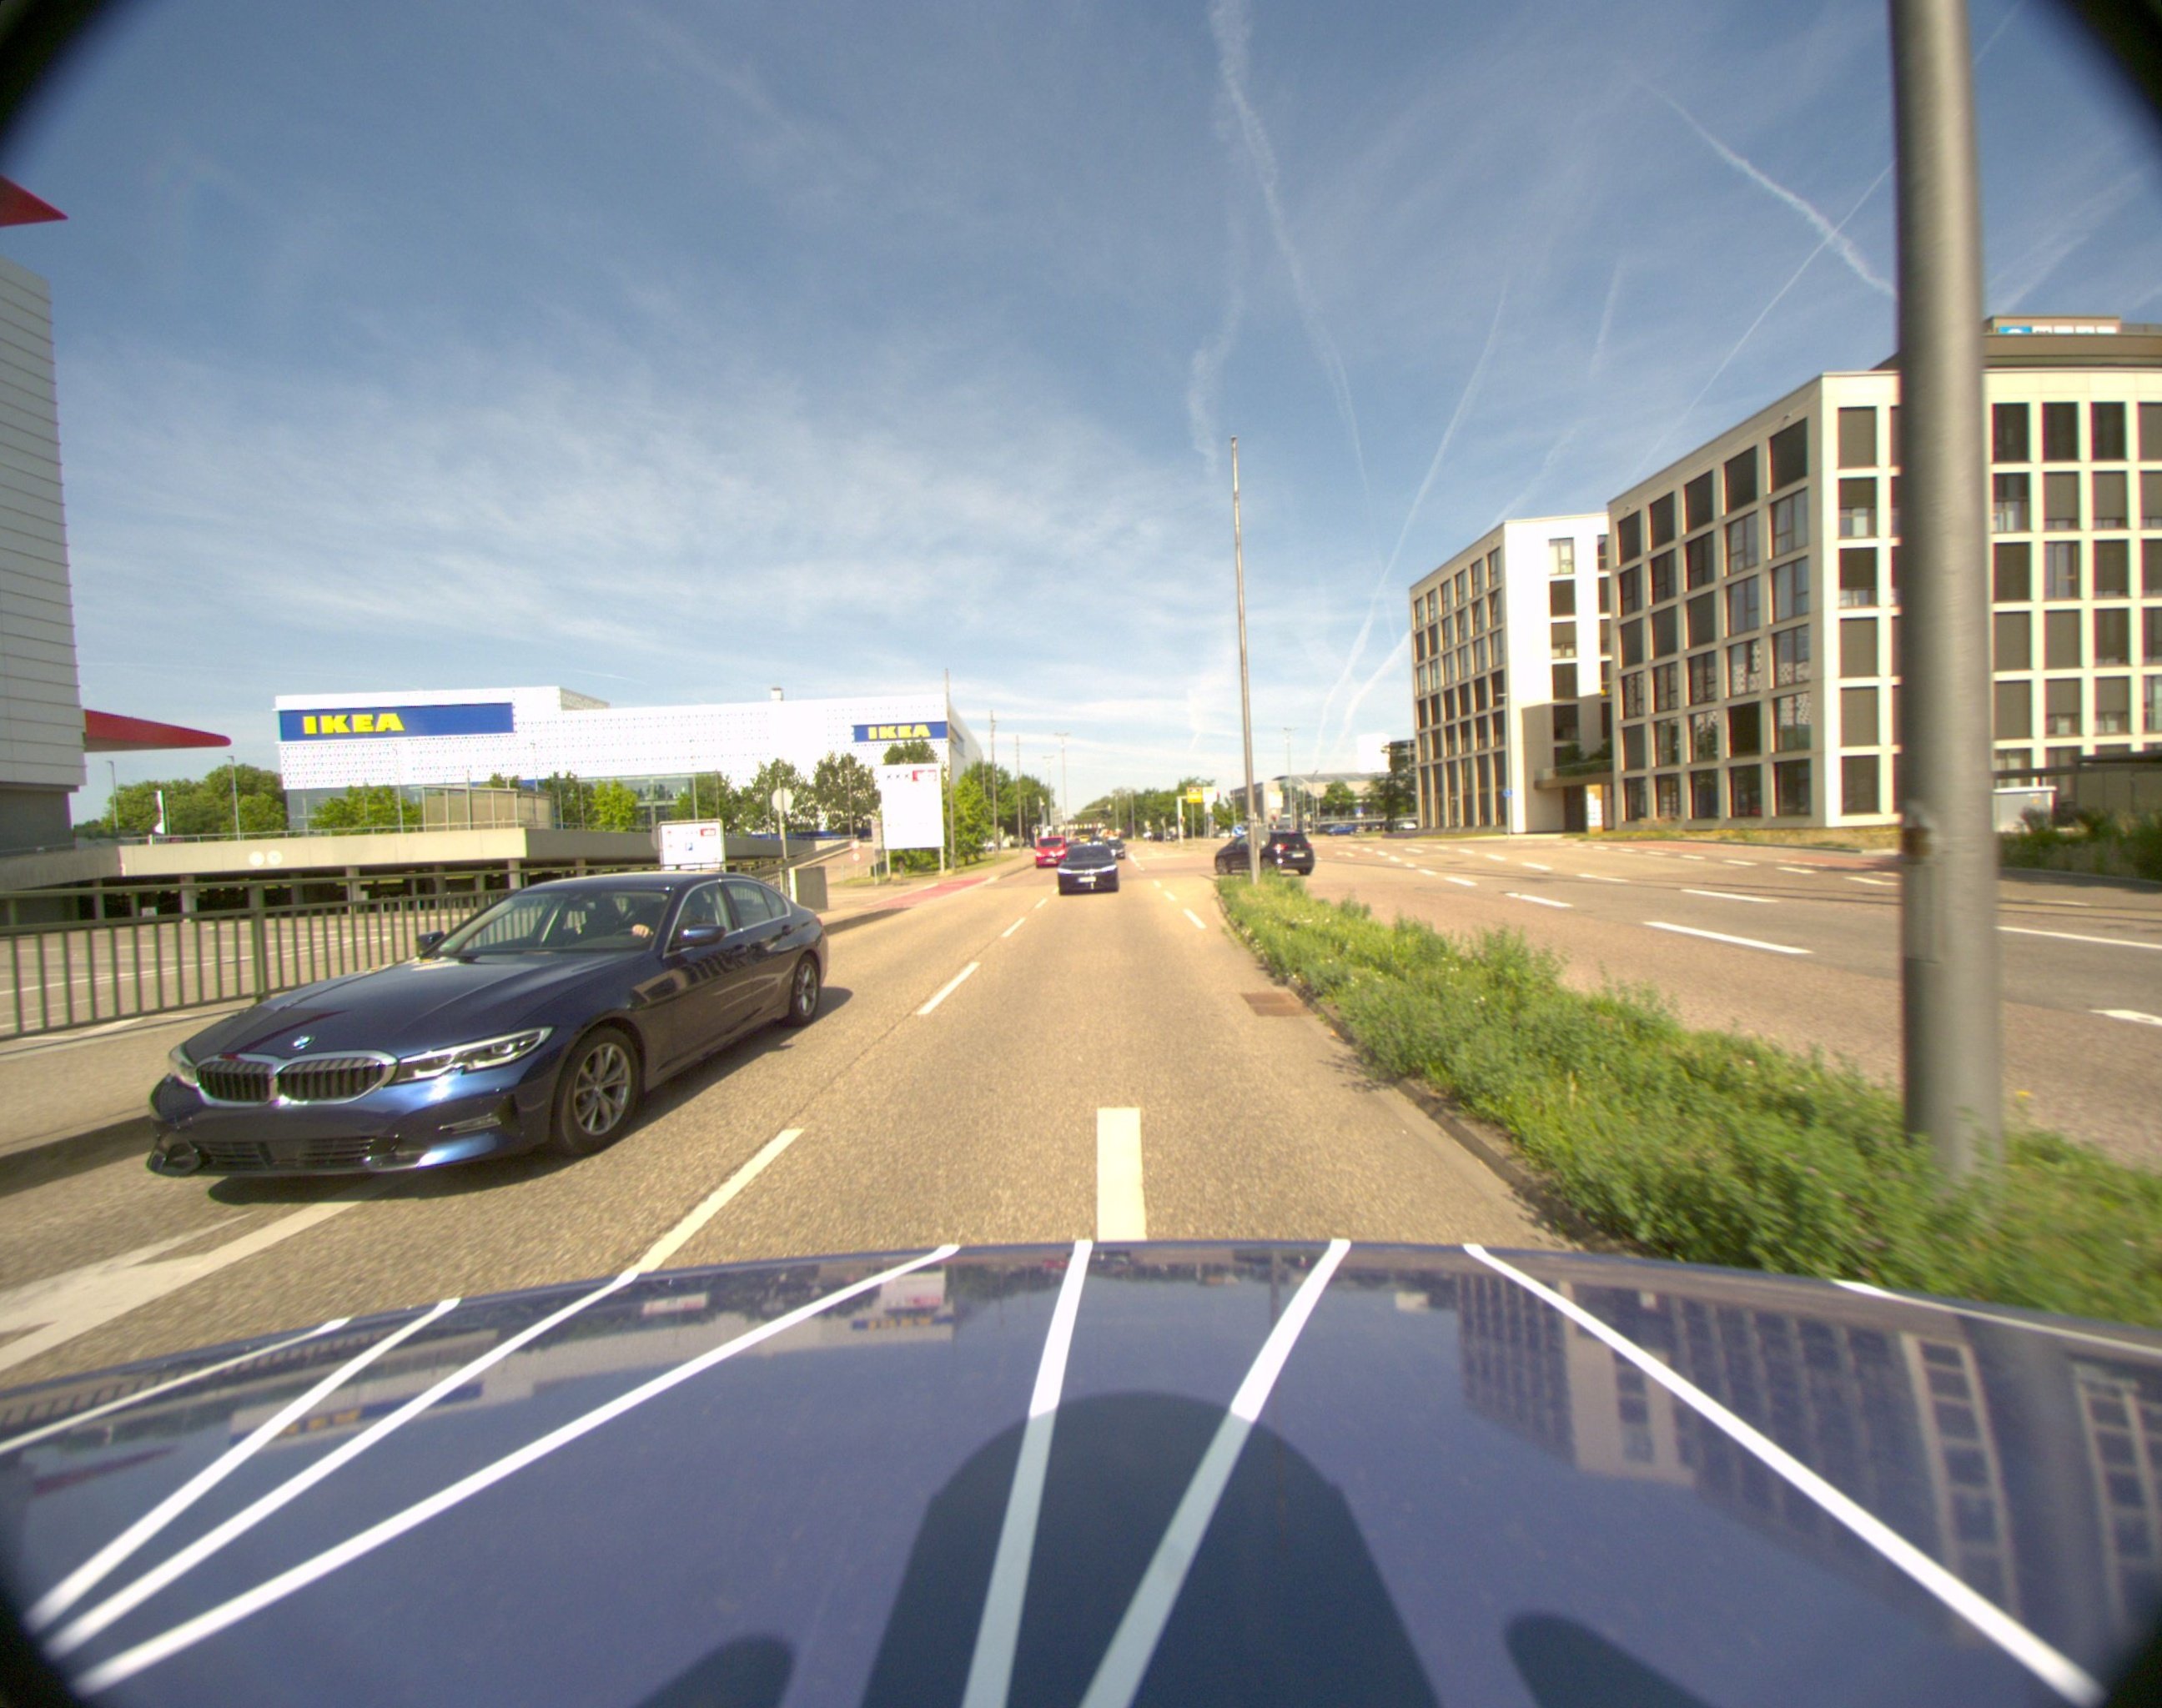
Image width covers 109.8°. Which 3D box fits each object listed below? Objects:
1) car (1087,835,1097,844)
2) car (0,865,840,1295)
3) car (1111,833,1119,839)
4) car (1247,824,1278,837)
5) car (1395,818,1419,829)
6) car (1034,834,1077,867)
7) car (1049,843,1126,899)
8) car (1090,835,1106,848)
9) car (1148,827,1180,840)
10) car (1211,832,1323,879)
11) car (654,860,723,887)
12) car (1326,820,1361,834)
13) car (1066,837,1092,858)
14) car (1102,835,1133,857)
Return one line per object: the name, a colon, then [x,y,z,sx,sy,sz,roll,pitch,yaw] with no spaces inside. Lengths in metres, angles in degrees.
car: [2.001,-2.708,142.181,1.825,1.466,3.999,-2,1,0]
car: [-3.371,0.943,5.282,1.792,1.475,4.519,-3,2,1]
car: [8.727,-4.628,196.620,1.867,1.617,3.999,-2,1,2]
car: [27.019,-3.485,113.371,4.388,1.837,1.813,-2,2,13]
car: [51.277,-4.733,119.623,1.811,1.563,3.937,-2,1,-4]
car: [-1.622,-0.272,49.168,1.987,1.896,4.145,-3,2,8]
car: [0.313,0.482,24.593,1.860,1.520,4.145,-3,1,8]
car: [2.023,-1.527,91.061,1.825,1.466,3.999,-2,1,0]
car: [12.288,-3.027,112.298,4.384,1.837,1.815,-1,2,34]
car: [6.685,0.019,27.794,1.864,1.520,4.136,-2,1,-22]
car: [-30.553,1.506,59.258,4.317,1.823,1.999,-2,0,-6]
car: [37.399,-3.832,108.399,4.391,1.837,1.812,-2,2,5]
car: [-0.139,-0.578,66.446,1.776,1.649,4.144,-3,1,6]
car: [2.682,-0.583,55.374,1.848,1.410,4.000,-1,3,8]
